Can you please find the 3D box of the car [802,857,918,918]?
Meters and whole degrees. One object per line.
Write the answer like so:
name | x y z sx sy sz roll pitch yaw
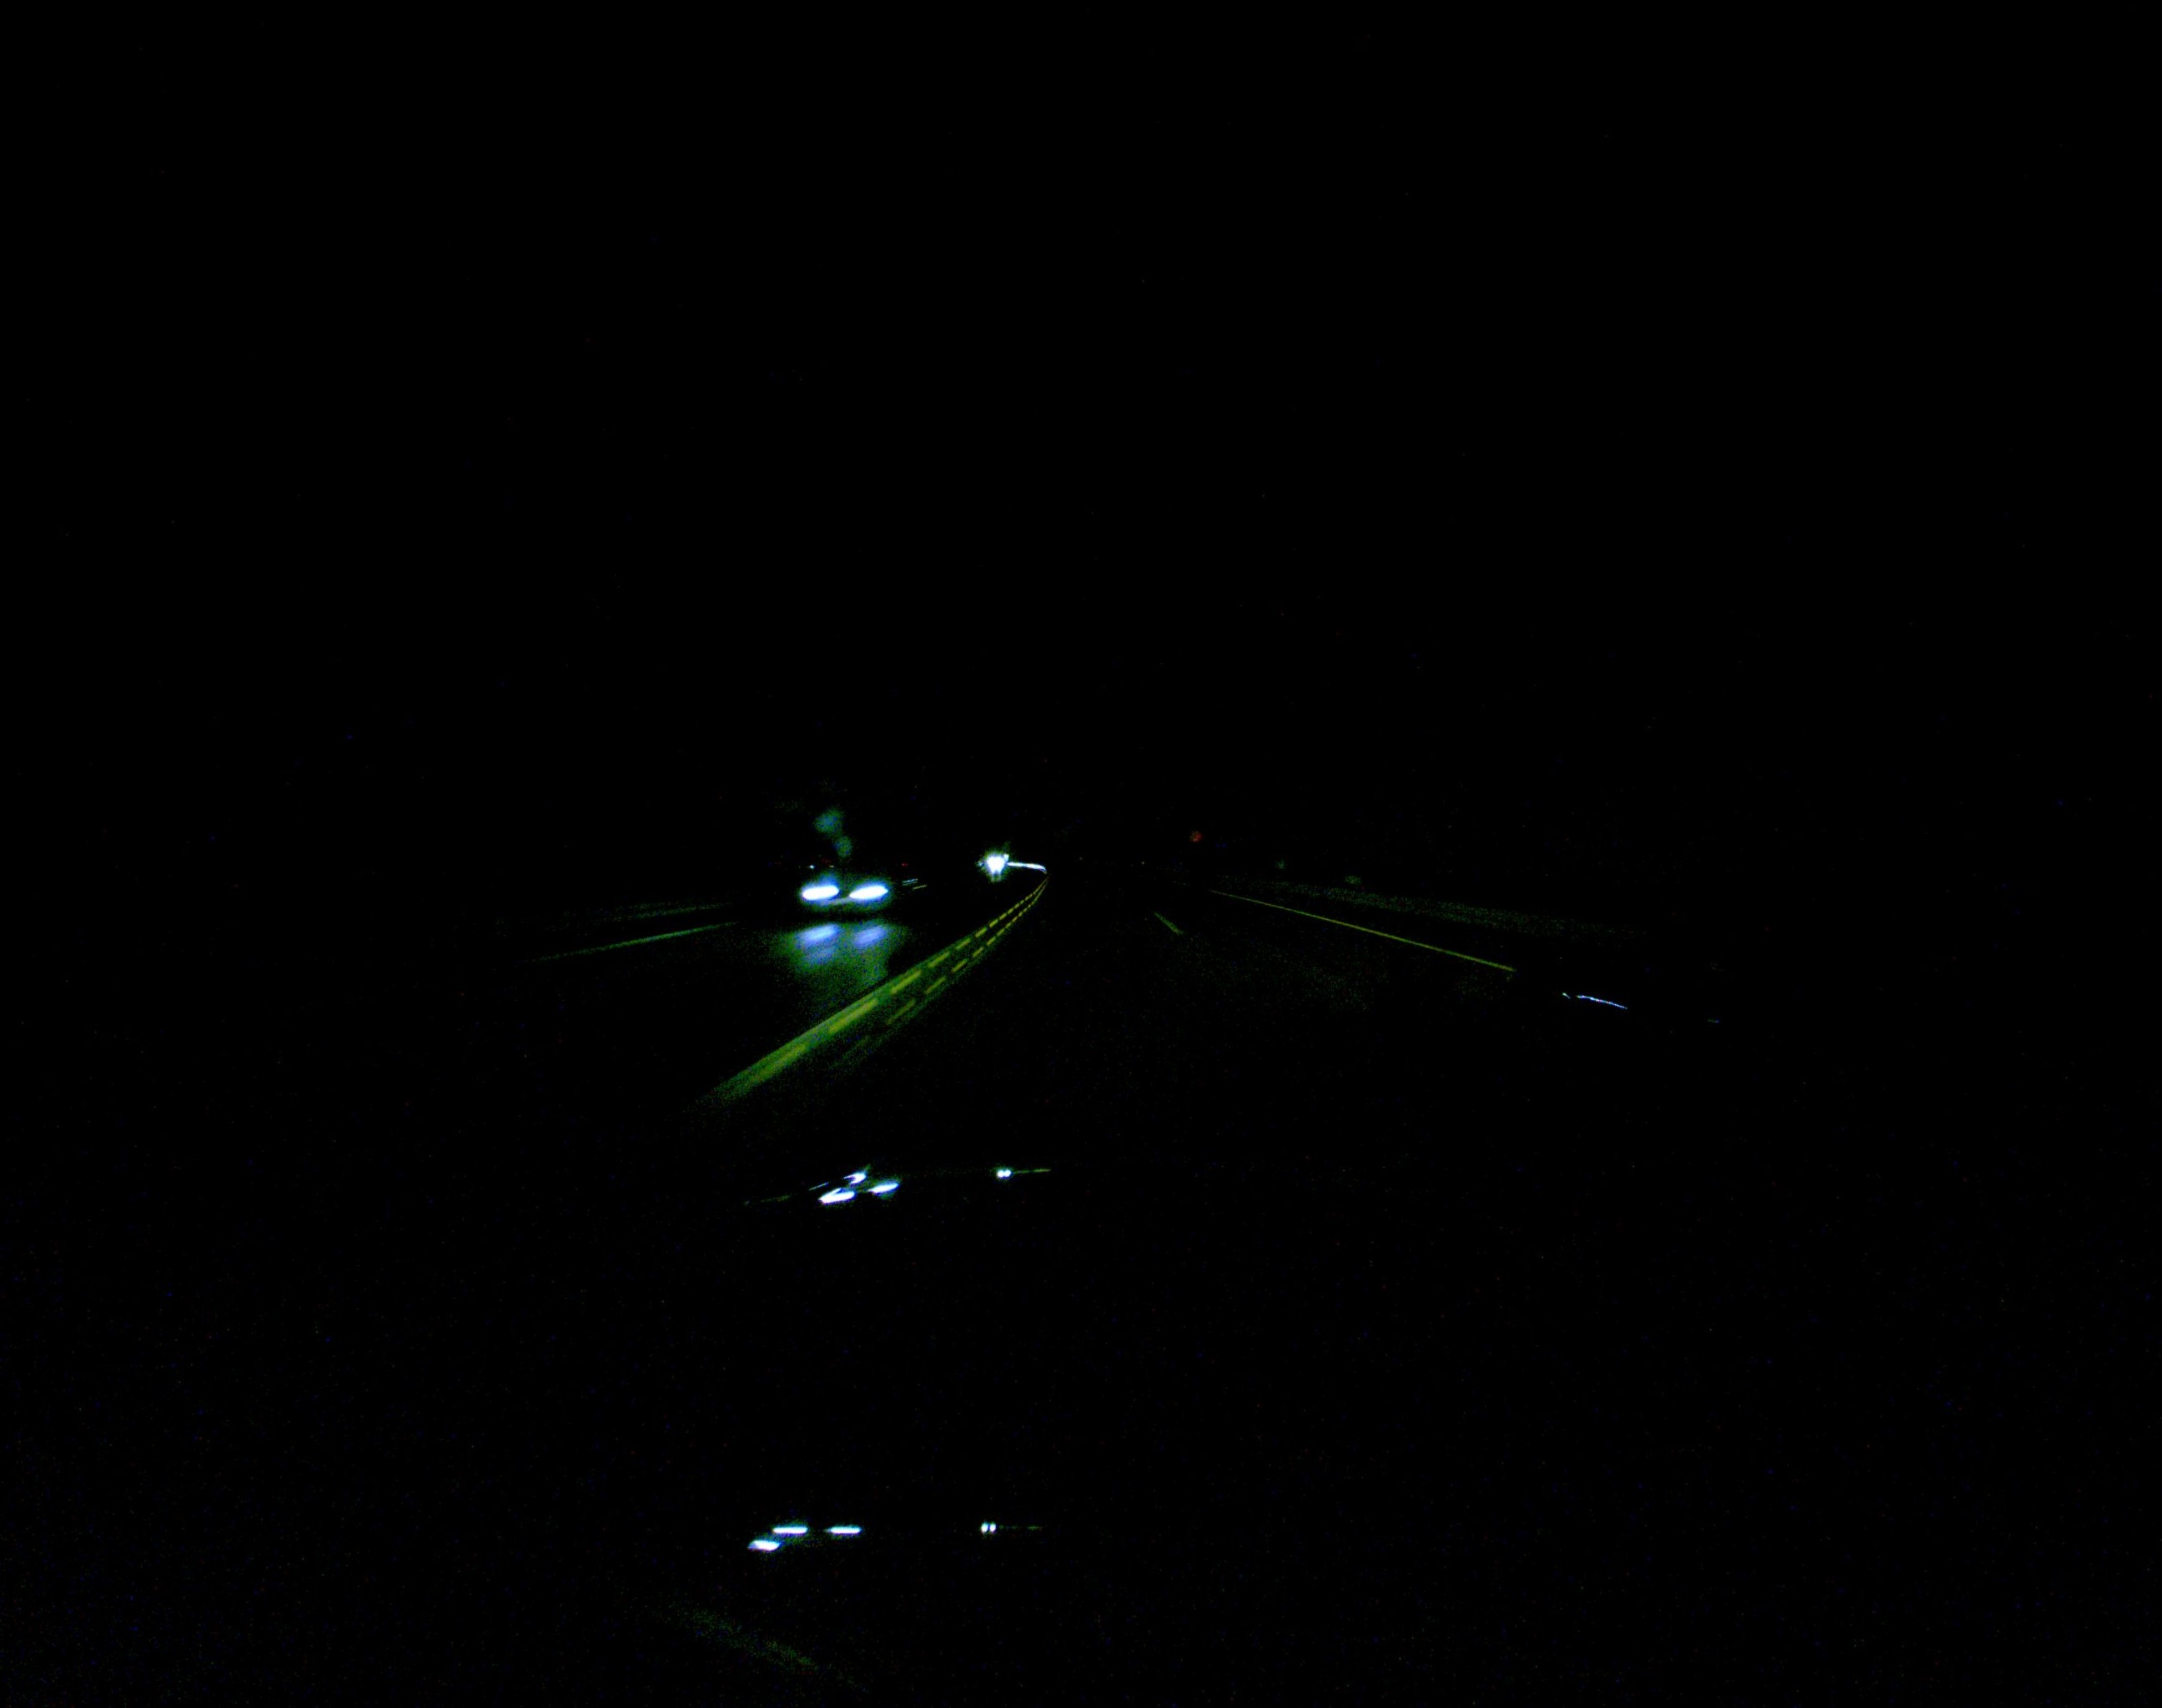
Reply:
car | -6.070 0.855 22.983 1.907 1.426 4.951 -2 0 -1

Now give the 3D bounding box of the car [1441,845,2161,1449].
car | 3.545 0.707 3.568 1.802 1.426 4.875 -2 0 1

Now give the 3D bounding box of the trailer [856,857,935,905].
trailer | -6.101 0.844 27.161 1.878 1.426 3.349 -1 0 -1

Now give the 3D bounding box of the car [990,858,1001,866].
car | -17.678 1.643 168.161 1.820 1.516 4.504 -1 -1 -12
